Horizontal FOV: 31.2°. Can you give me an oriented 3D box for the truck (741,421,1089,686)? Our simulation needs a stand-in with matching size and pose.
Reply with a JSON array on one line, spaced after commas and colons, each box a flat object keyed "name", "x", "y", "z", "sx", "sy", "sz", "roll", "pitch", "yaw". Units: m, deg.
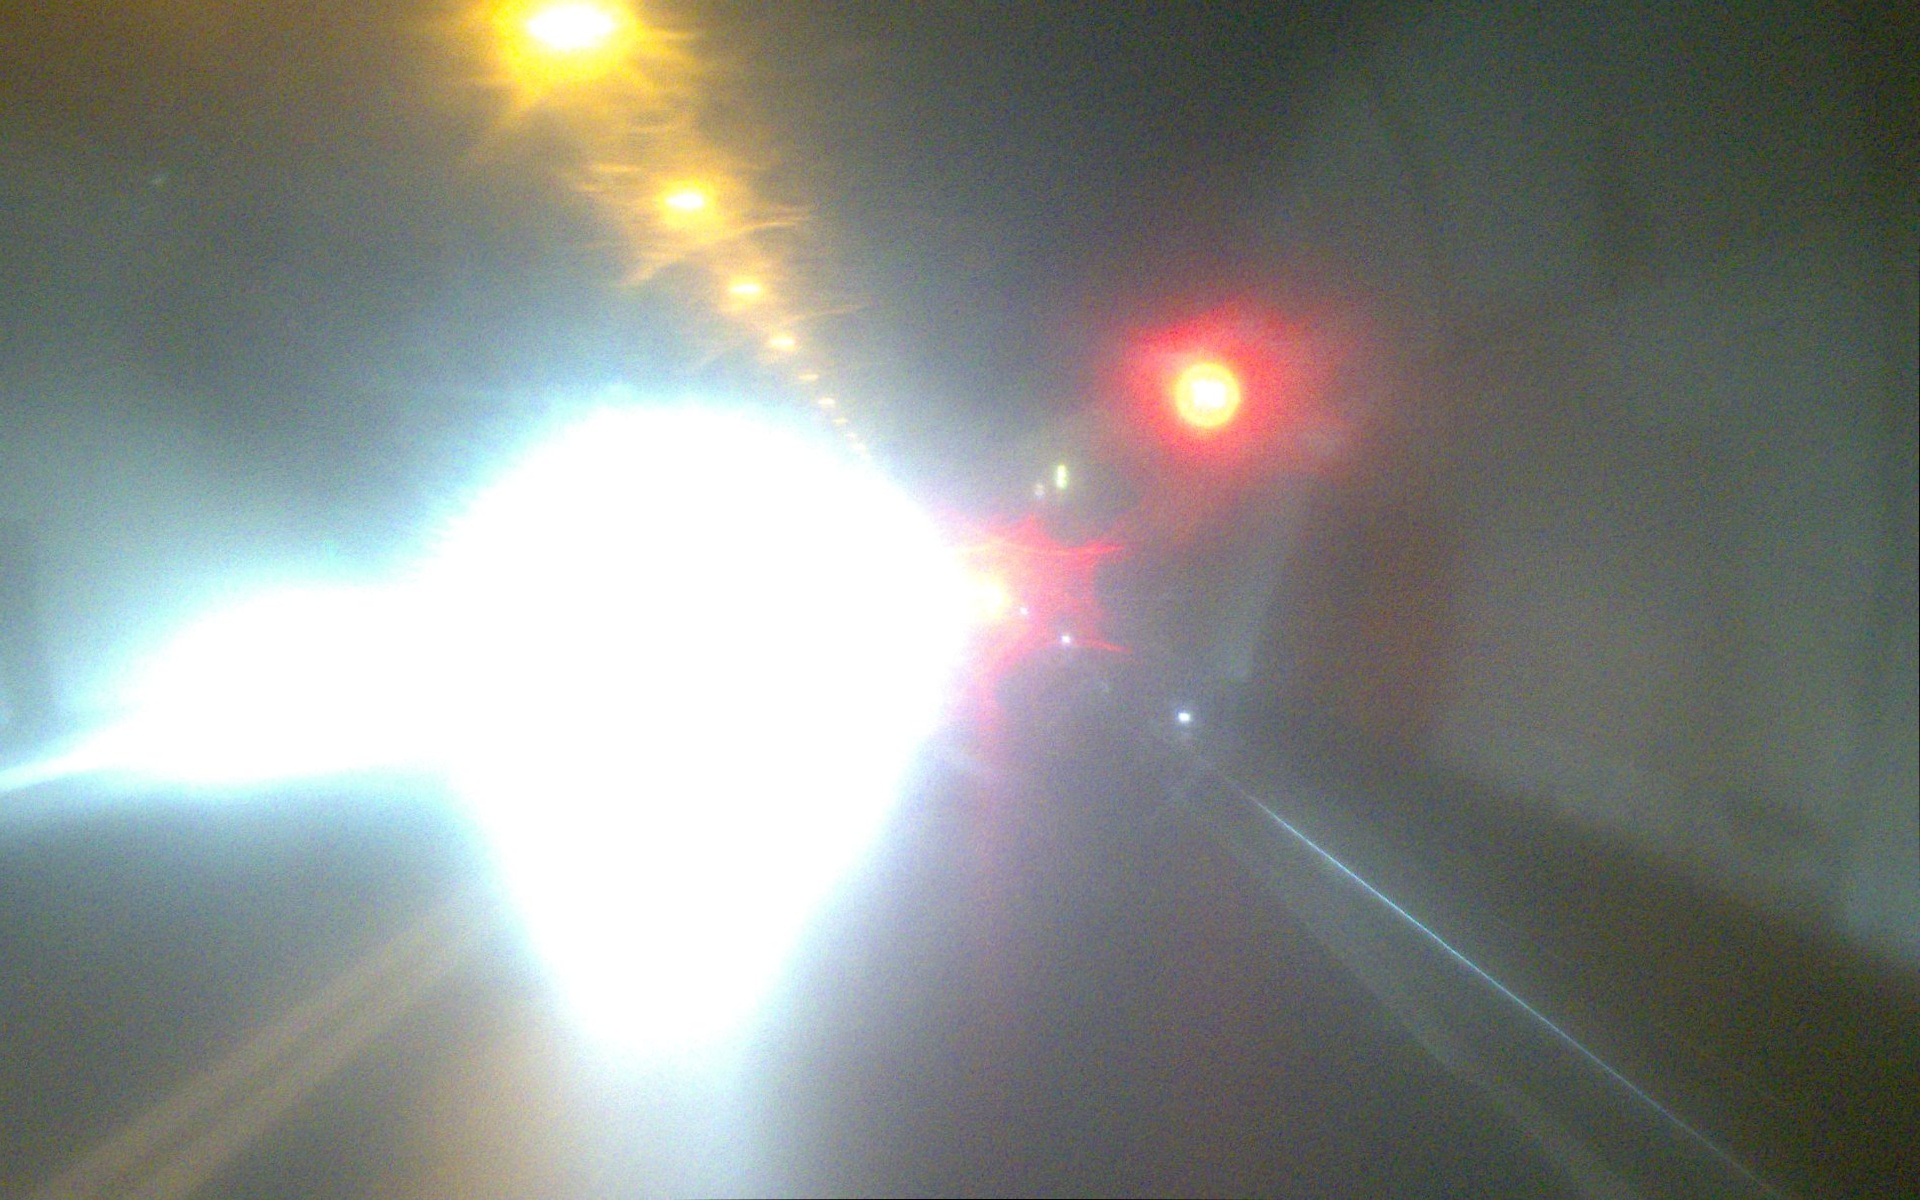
[{"name": "truck", "x": -0.474, "y": -0.542, "z": 39.460, "sx": 3.535, "sy": 2.684, "sz": 8.956, "roll": 0, "pitch": 1, "yaw": 0}]

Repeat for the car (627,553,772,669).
[{"name": "car", "x": -3.688, "y": 0.130, "z": 49.127, "sx": 1.756, "sy": 1.523, "sz": 3.815, "roll": 2, "pitch": 1, "yaw": 0}]
